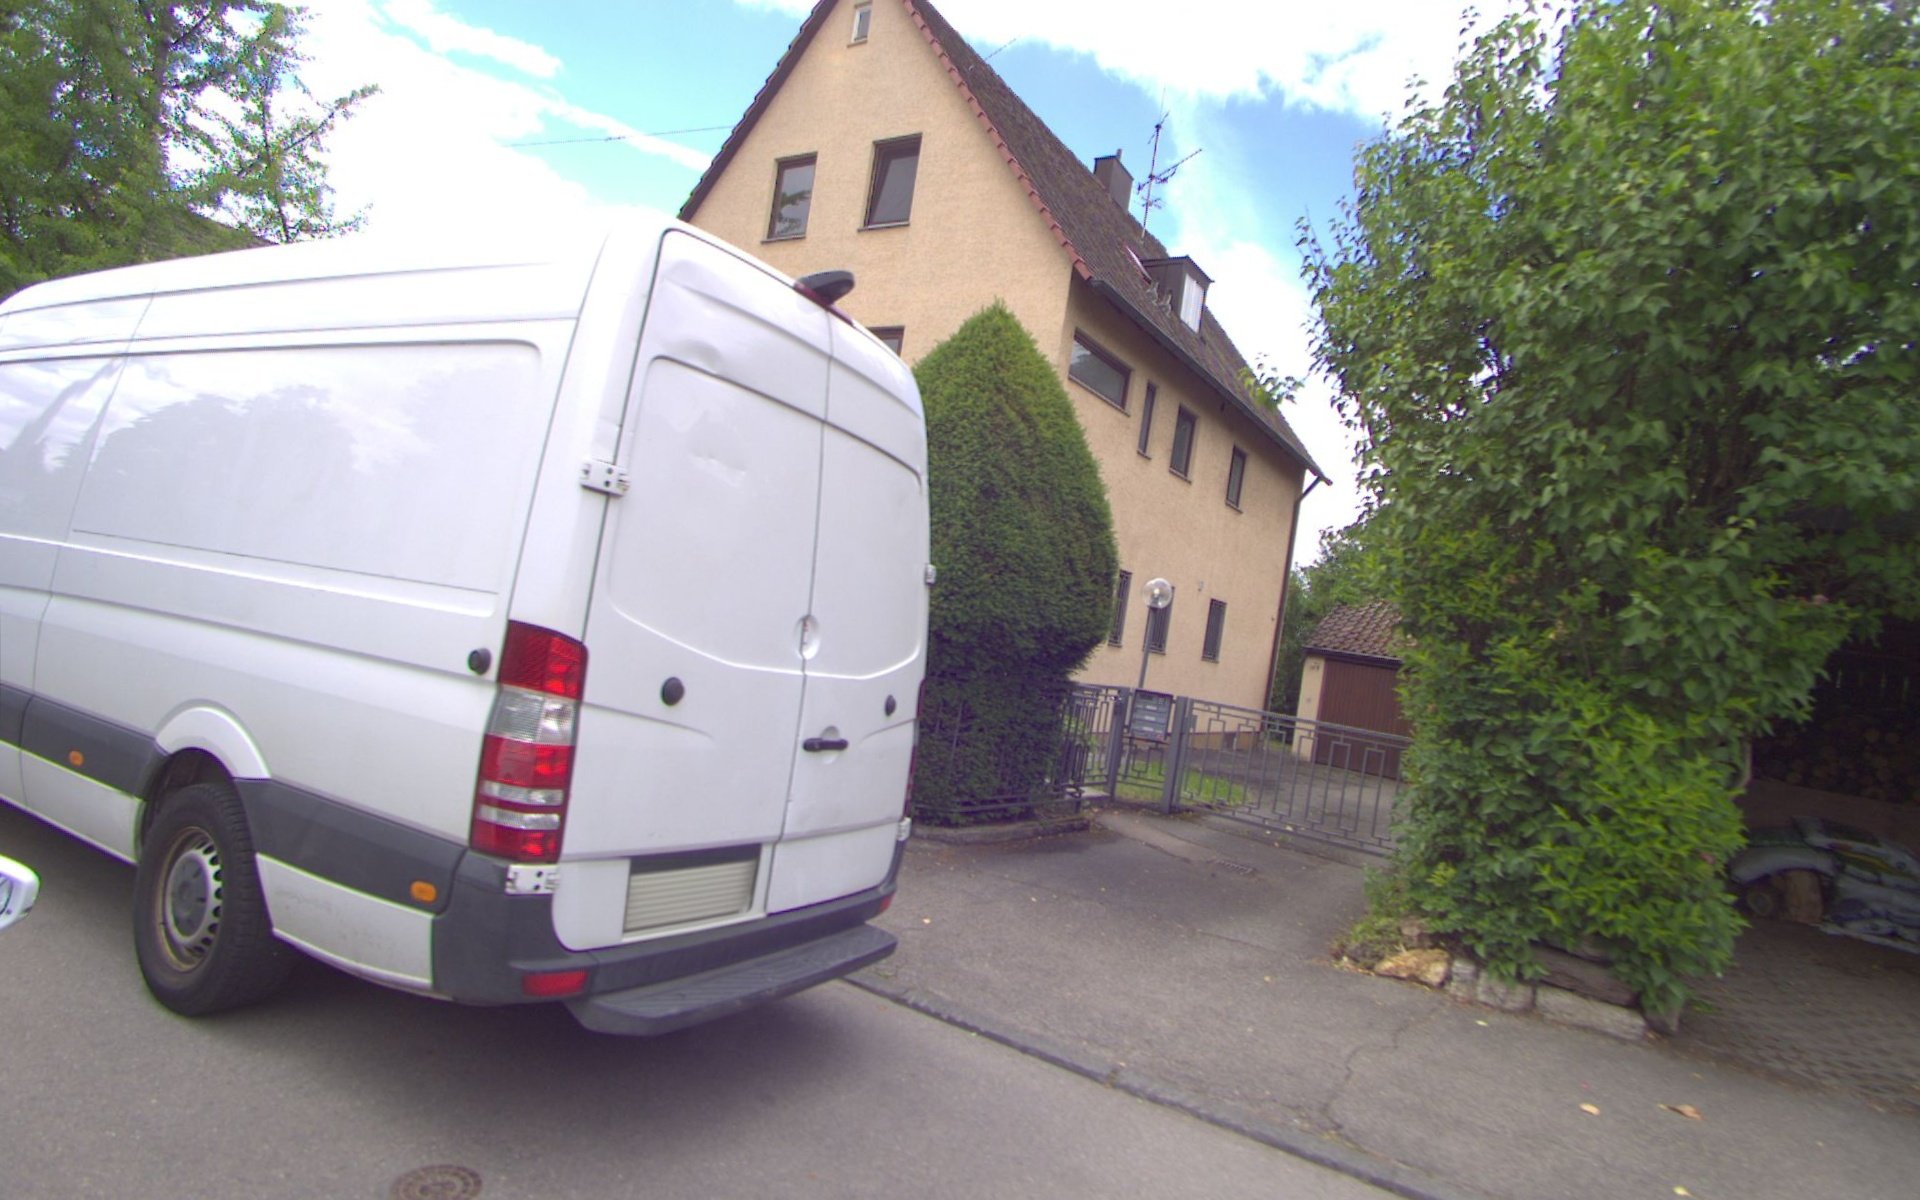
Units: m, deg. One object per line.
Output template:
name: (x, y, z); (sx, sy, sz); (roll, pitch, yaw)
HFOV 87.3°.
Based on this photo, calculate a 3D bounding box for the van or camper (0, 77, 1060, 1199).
van or camper: (-3.253, -0.125, 4.833); (6.918, 2.649, 2.047); (7, -2, 30)

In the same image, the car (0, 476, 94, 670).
car: (-10.167, -0.502, 9.305); (4.686, 1.600, 1.891); (7, 0, 32)
